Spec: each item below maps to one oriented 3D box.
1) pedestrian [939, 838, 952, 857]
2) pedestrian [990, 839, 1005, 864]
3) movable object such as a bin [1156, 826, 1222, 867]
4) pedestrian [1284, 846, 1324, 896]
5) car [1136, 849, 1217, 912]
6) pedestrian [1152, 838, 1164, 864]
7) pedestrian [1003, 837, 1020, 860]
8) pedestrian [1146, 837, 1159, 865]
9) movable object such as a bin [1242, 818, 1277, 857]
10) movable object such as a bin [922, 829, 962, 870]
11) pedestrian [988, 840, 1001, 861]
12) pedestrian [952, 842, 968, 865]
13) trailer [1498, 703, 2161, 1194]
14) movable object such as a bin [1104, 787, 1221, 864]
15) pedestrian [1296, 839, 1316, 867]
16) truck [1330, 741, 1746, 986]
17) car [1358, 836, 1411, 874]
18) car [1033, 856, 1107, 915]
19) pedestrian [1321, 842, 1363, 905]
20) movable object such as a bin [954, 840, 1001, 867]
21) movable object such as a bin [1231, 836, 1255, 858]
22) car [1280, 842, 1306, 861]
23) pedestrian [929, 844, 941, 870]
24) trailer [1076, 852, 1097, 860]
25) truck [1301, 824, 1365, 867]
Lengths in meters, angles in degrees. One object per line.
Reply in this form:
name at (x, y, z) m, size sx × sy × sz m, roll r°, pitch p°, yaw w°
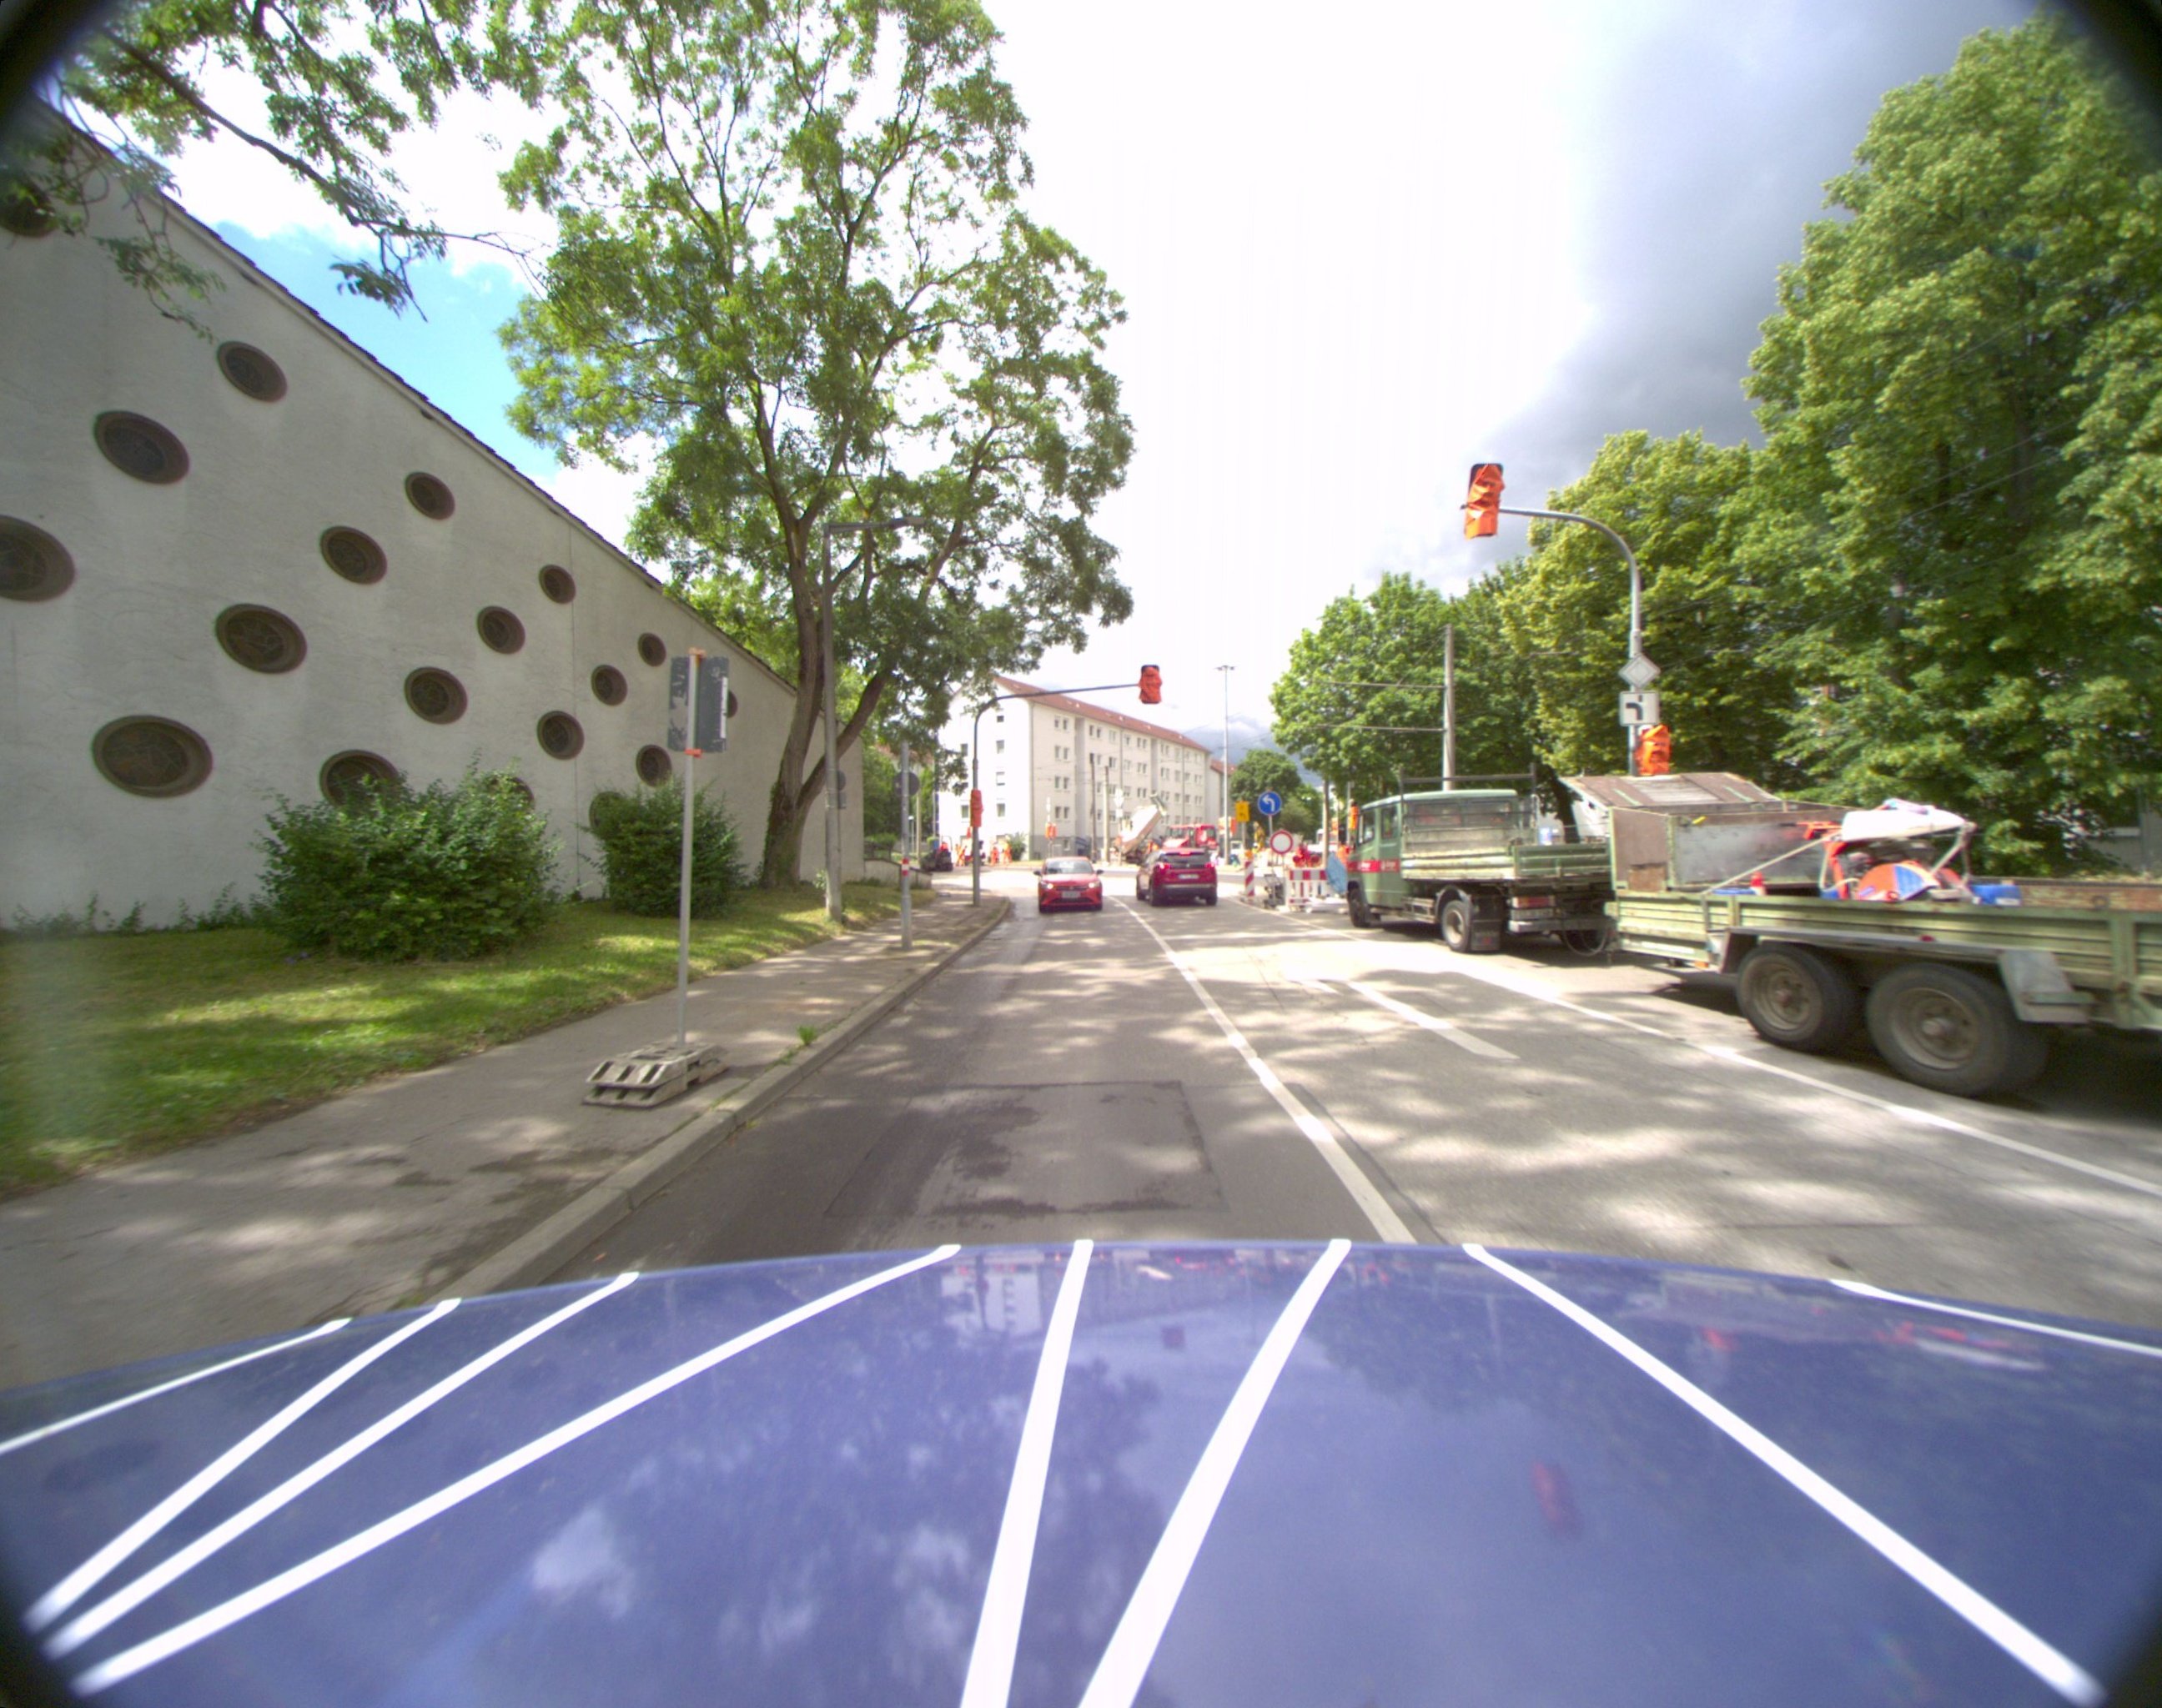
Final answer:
pedestrian at (-8.750, -0.417, 49.004) m, size 0.615 × 1.209 × 0.552 m, roll 0°, pitch 1°, yaw 40°
pedestrian at (-6.199, -0.167, 56.430) m, size 0.767 × 1.829 × 0.785 m, roll 0°, pitch 1°, yaw 27°
movable object such as a bin at (7.452, -0.563, 51.879) m, size 2.110 × 2.654 × 5.598 m, roll 1°, pitch 2°, yaw 35°
pedestrian at (7.172, 0.542, 24.455) m, size 0.766 × 1.542 × 0.898 m, roll -3°, pitch 1°, yaw -39°
car at (2.693, 0.693, 22.290) m, size 1.847 × 1.608 × 4.241 m, roll -1°, pitch 1°, yaw 0°
pedestrian at (5.457, -0.227, 53.879) m, size 0.611 × 1.778 × 0.583 m, roll -1°, pitch 1°, yaw 32°
pedestrian at (-5.559, -0.407, 60.611) m, size 0.872 × 1.813 × 1.098 m, roll 0°, pitch 1°, yaw 29°
pedestrian at (4.730, -0.193, 50.165) m, size 0.795 × 1.822 × 0.971 m, roll -1°, pitch 2°, yaw 1°
movable object such as a bin at (21.684, -1.923, 92.066) m, size 2.819 × 4.509 × 6.220 m, roll 0°, pitch 1°, yaw 26°
movable object such as a bin at (-9.118, -0.290, 49.753) m, size 2.355 × 2.579 × 1.323 m, roll 0°, pitch 2°, yaw 40°
pedestrian at (-7.101, -0.314, 62.206) m, size 0.881 × 1.674 × 0.666 m, roll -1°, pitch 2°, yaw -18°
pedestrian at (-9.352, -0.025, 58.572) m, size 0.916 × 1.706 × 0.755 m, roll 0°, pitch 2°, yaw 34°
trailer at (6.180, 0.368, 5.672) m, size 2.669 × 2.201 × 6.248 m, roll -3°, pitch 0°, yaw 1°
movable object such as a bin at (6.303, -2.035, 57.750) m, size 9.052 × 5.453 × 2.814 m, roll 0°, pitch 1°, yaw -33°
pedestrian at (13.504, -0.067, 45.589) m, size 0.872 × 1.650 × 0.930 m, roll -1°, pitch 1°, yaw 34°
truck at (6.328, 0.111, 11.985) m, size 2.669 × 2.709 × 6.395 m, roll -3°, pitch 0°, yaw 1°
car at (16.191, 0.018, 40.782) m, size 1.996 × 1.876 × 5.256 m, roll 0°, pitch 1°, yaw 14°
car at (-0.416, 0.832, 21.973) m, size 1.770 × 1.425 × 3.836 m, roll -3°, pitch 1°, yaw -6°
pedestrian at (7.142, 0.510, 20.789) m, size 0.707 × 1.659 × 0.826 m, roll -2°, pitch 4°, yaw -21°
movable object such as a bin at (-7.768, -0.032, 57.171) m, size 2.959 × 2.002 × 2.004 m, roll 0°, pitch 1°, yaw 38°
movable object such as a bin at (17.840, -0.724, 83.577) m, size 1.995 × 2.395 × 4.006 m, roll 0°, pitch 0°, yaw 21°
car at (22.939, -0.308, 82.097) m, size 1.995 × 2.002 × 5.918 m, roll 0°, pitch 0°, yaw 22°
pedestrian at (-9.579, 0.193, 49.813) m, size 0.557 × 1.673 × 0.471 m, roll 0°, pitch 4°, yaw 32°
trailer at (0.390, 0.160, 56.651) m, size 0.799 × 0.612 × 1.593 m, roll 0°, pitch 0°, yaw -37°
truck at (16.022, -0.552, 48.094) m, size 2.412 × 2.553 × 5.594 m, roll 0°, pitch 1°, yaw 34°
